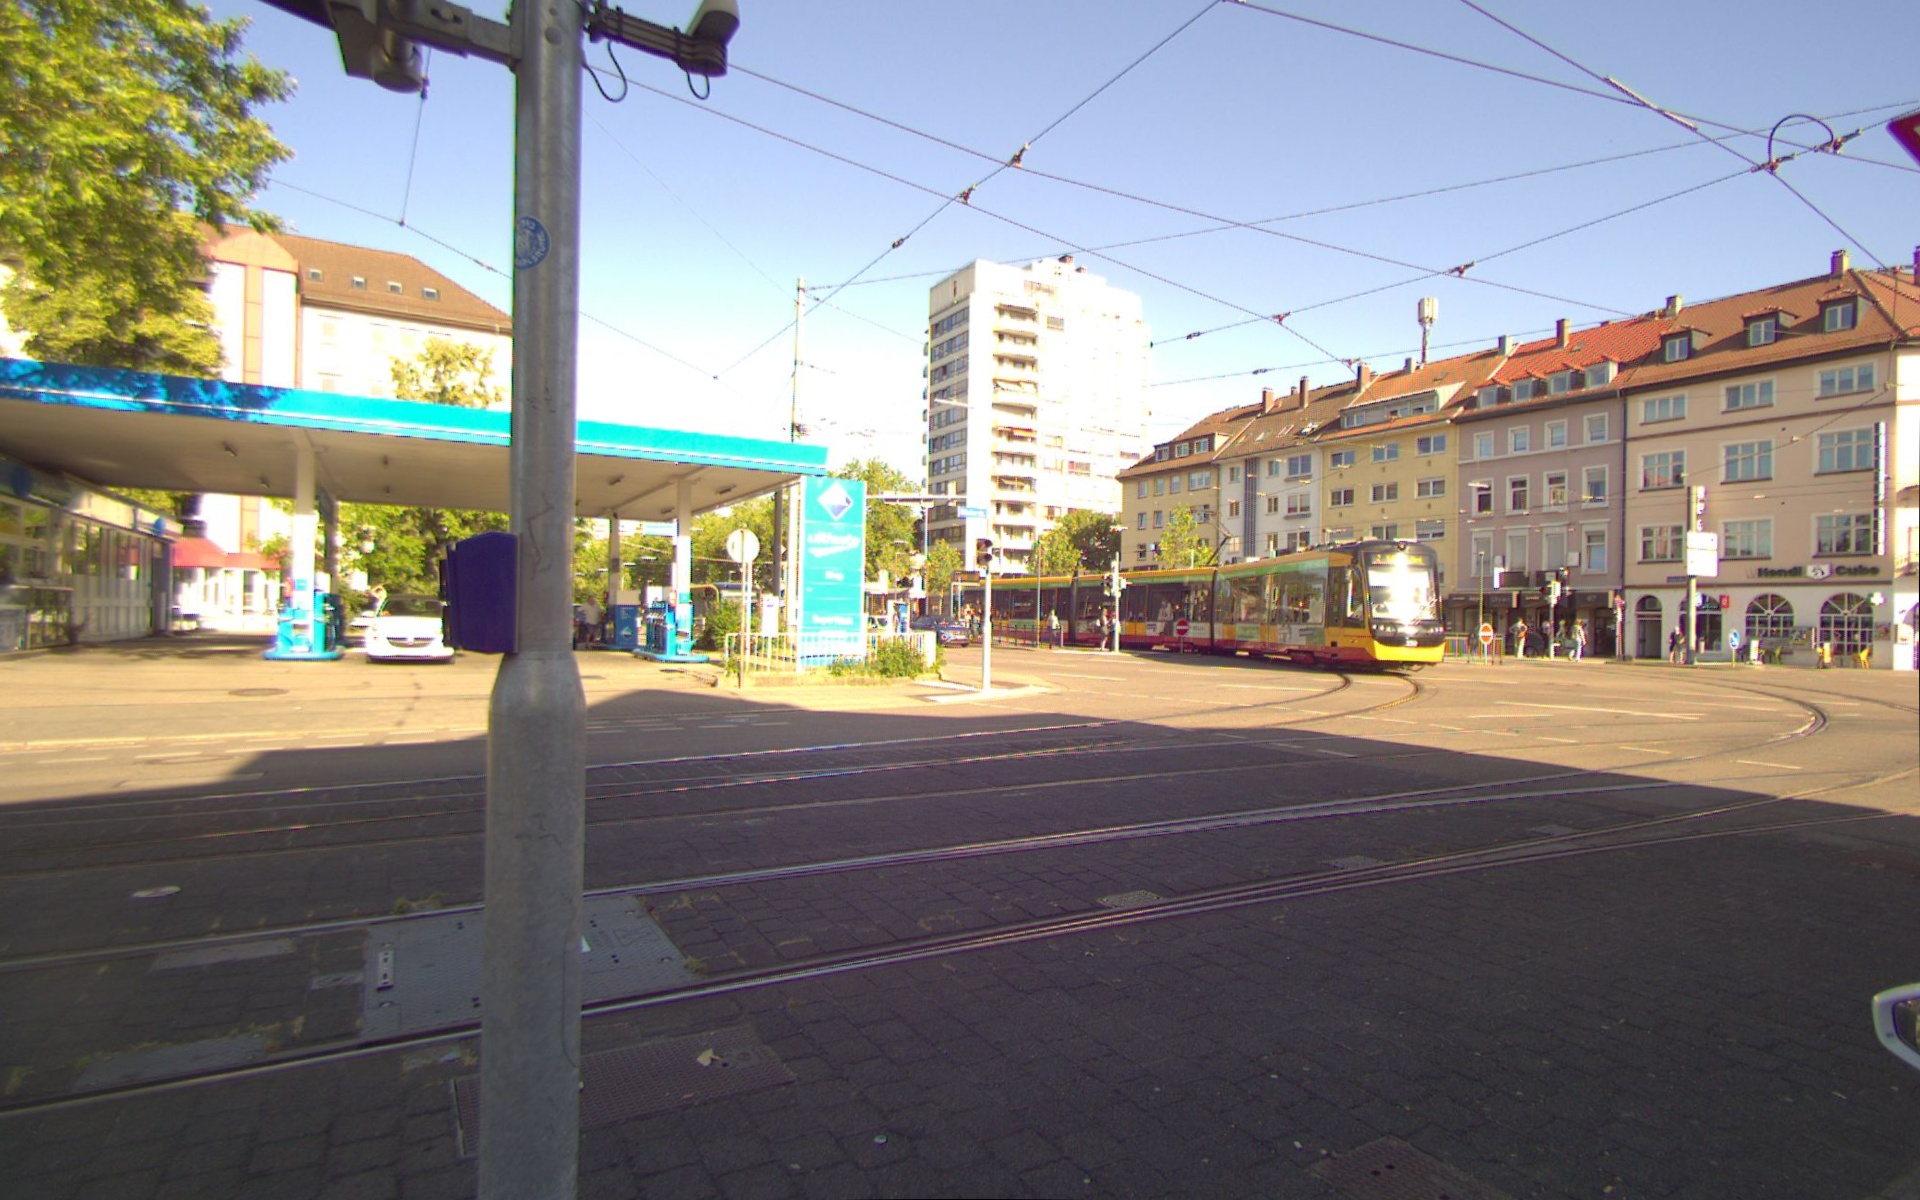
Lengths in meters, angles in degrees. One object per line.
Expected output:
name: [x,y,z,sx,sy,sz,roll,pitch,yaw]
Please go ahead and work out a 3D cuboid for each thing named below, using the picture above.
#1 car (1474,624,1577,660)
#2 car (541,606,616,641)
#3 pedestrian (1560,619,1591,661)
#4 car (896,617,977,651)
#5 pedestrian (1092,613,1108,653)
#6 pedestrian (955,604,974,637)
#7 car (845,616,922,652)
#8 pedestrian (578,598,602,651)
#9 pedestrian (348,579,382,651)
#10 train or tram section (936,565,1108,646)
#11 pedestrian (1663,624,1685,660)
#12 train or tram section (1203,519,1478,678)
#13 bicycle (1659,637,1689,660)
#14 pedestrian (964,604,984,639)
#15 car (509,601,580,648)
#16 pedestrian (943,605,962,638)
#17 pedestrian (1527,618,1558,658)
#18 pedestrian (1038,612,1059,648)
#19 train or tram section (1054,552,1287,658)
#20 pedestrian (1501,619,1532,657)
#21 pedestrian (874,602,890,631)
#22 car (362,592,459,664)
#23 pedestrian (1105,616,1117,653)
car: [30.821,2.290,54.846,2.277,1.734,4.350,2,0,-27]
car: [-16.865,1.040,44.602,1.722,1.461,3.572,1,-1,5]
pedestrian: [23.793,1.550,38.855,0.817,1.598,0.552,2,0,-2]
car: [-1.165,1.615,48.368,1.875,1.550,3.955,1,-2,-39]
pedestrian: [5.852,1.391,41.966,0.626,1.666,0.462,0,0,6]
pedestrian: [0.220,1.098,53.718,0.747,1.756,0.797,0,0,-28]
car: [-3.591,1.551,46.738,1.871,1.550,3.963,1,-1,-33]
pedestrian: [-12.019,0.788,32.612,0.491,1.724,0.500,0,-1,25]
pedestrian: [-14.451,0.372,24.418,0.640,1.724,0.497,1,-1,-26]
train or tram section: [2.949,0.334,53.830,2.908,3.864,12.021,1,-1,-31]
pedestrian: [34.112,2.024,47.967,0.743,1.692,0.579,2,0,-30]
train or tram section: [10.917,0.076,31.146,2.885,3.864,13.048,1,-1,-3]
bicycle: [34.094,2.318,47.961,1.479,1.091,0.570,2,0,-30]
pedestrian: [0.704,1.102,51.616,0.747,1.756,0.797,0,0,-28]
car: [-13.552,0.782,32.677,1.737,1.461,3.543,1,-1,-29]
pedestrian: [-0.415,1.135,53.494,0.747,1.756,0.797,0,0,-28]
pedestrian: [24.217,1.568,41.733,0.821,1.598,0.724,2,0,-20]
pedestrian: [3.969,1.332,45.197,0.607,1.598,0.827,0,0,-27]
train or tram section: [8.425,0.262,43.067,2.900,3.864,12.747,1,-1,-24]
pedestrian: [24.433,1.668,44.121,0.821,1.598,0.847,2,0,-20]
pedestrian: [-4.799,0.999,61.958,0.747,1.756,0.797,0,0,-28]
car: [-12.201,0.602,22.351,1.737,1.461,3.543,1,-1,-29]
pedestrian: [6.149,1.404,40.967,0.472,1.525,0.462,0,0,6]
